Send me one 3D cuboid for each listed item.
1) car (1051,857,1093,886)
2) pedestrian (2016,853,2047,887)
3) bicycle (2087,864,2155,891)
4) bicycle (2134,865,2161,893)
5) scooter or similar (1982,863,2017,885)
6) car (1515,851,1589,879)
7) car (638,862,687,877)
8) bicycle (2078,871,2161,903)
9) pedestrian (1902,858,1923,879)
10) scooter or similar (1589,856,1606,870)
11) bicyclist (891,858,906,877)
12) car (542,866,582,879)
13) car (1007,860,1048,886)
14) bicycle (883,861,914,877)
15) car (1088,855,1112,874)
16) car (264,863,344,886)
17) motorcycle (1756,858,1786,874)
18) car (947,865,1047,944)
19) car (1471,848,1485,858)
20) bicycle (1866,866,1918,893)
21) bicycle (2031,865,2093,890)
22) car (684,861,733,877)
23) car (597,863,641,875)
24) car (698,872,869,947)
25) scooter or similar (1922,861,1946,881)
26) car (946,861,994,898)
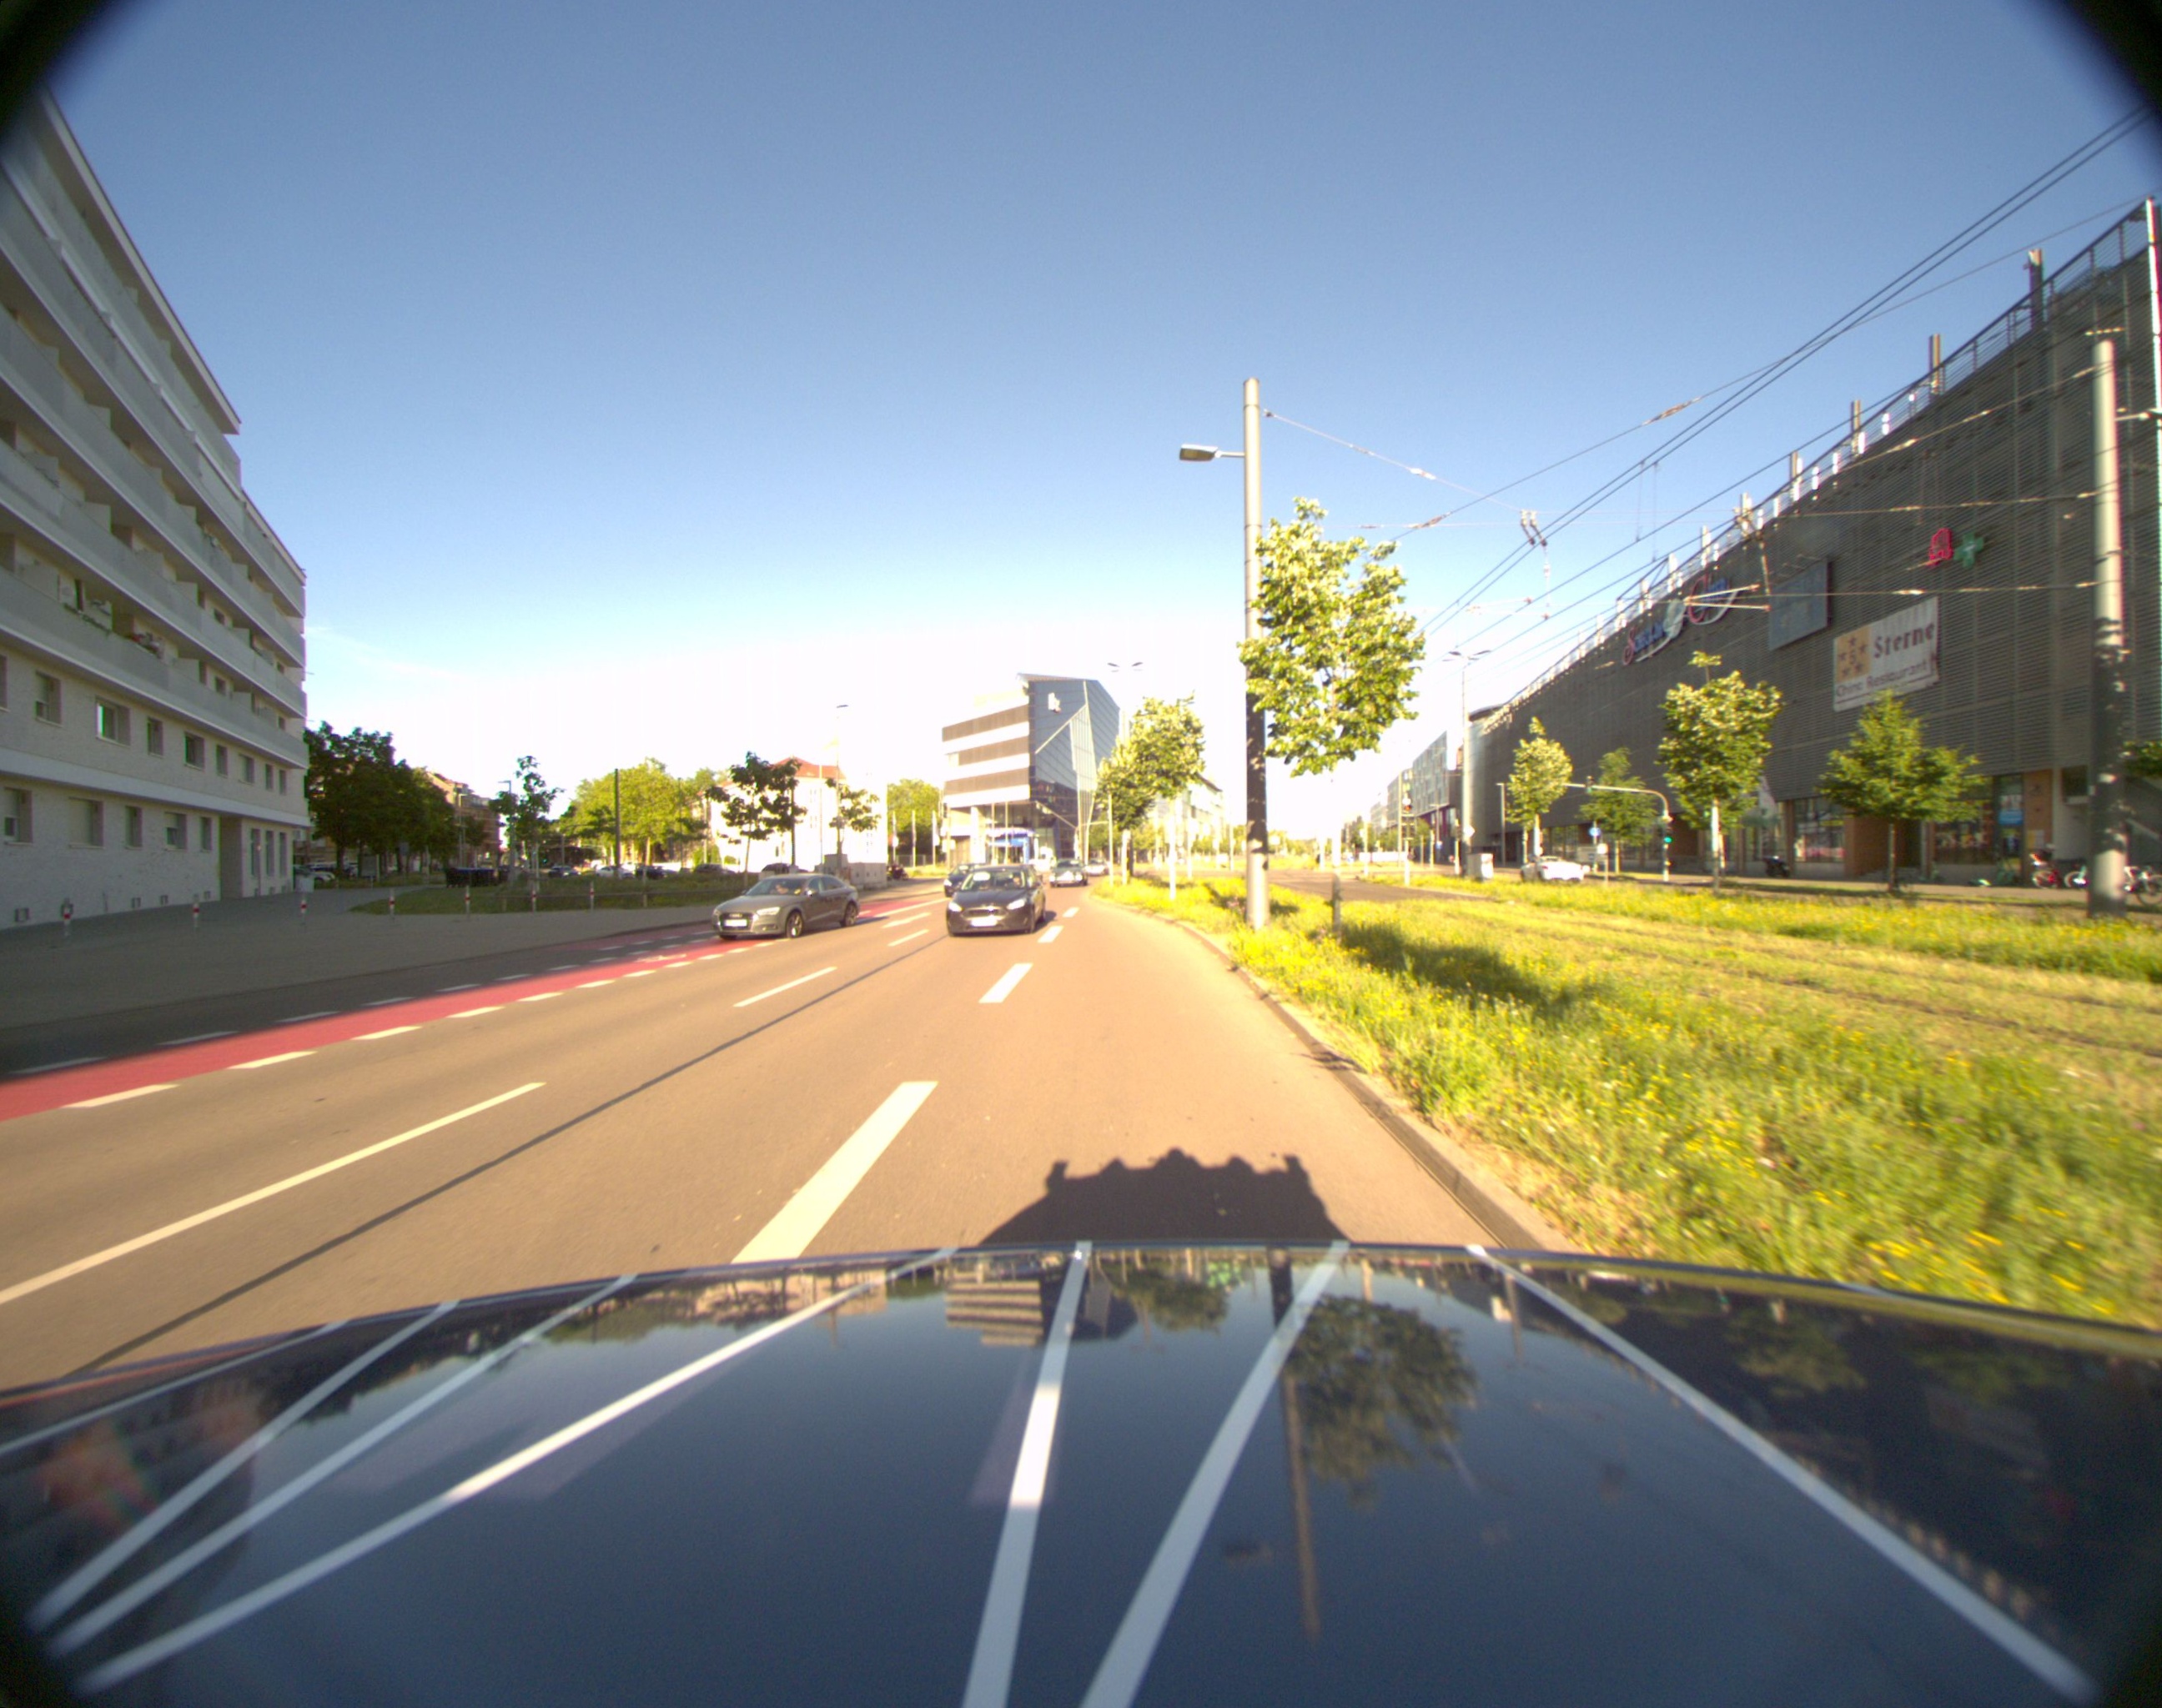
[{"bbox_3d":[-0.443,0.932,41.804,1.748,1.496,3.883,-1,0,8],"label":"car"},{"bbox_3d":[36.651,0.625,29.303,0.448,1.282,0.630,-1,1,12],"label":"pedestrian"},{"bbox_3d":[36.176,0.811,26.451,1.398,0.921,0.462,-1,1,16],"label":"bicycle"},{"bbox_3d":[35.907,0.829,25.043,1.398,0.921,0.462,-1,1,16],"label":"bicycle"},{"bbox_3d":[37.185,0.813,30.771,0.291,0.888,0.899,-1,1,-37],"label":"scooter or similar"},{"bbox_3d":[23.903,0.514,38.735,1.809,1.320,4.409,0,0,12],"label":"car"},{"bbox_3d":[-41.591,1.573,75.590,4.514,1.414,2.003,-1,0,26],"label":"car"},{"bbox_3d":[31.017,0.973,22.734,0.386,0.863,1.773,-1,0,12],"label":"bicycle"},{"bbox_3d":[40.884,0.708,37.364,0.565,1.032,0.425,-1,1,22],"label":"pedestrian"},{"bbox_3d":[39.690,0.652,58.437,0.436,1.036,1.363,-2,1,4],"label":"scooter or similar"},{"bbox_3d":[-15.598,1.138,64.940,1.006,1.597,0.880,-1,1,13],"label":"bicyclist"},{"bbox_3d":[-56.949,2.050,83.378,3.990,1.368,1.938,-1,0,26],"label":"car"},{"bbox_3d":[-3.230,1.143,46.821,1.437,1.437,4.004,0,0,13],"label":"car"},{"bbox_3d":[-15.583,1.296,64.924,2.368,1.304,0.952,-1,1,13],"label":"bicycle"},{"bbox_3d":[1.625,0.828,63.027,1.619,1.421,3.769,-2,0,7],"label":"car"},{"bbox_3d":[-62.531,1.639,61.239,1.996,1.707,4.004,-1,0,12],"label":"car"},{"bbox_3d":[40.333,0.682,44.404,0.427,0.914,2.027,-1,0,15],"label":"motorcycle"},{"bbox_3d":[-1.753,1.031,17.069,1.690,1.425,4.153,-2,0,0],"label":"car"},{"bbox_3d":[58.115,-0.111,111.198,1.688,1.364,3.597,-1,0,25],"label":"car"},{"bbox_3d":[29.860,0.936,27.998,0.386,0.918,1.773,-1,0,12],"label":"bicycle"},{"bbox_3d":[36.002,0.856,27.904,1.398,0.921,0.462,-1,1,16],"label":"bicycle"},{"bbox_3d":[-35.855,1.459,73.159,3.991,1.414,2.003,-1,0,19],"label":"car"},{"bbox_3d":[-48.055,1.537,79.048,3.990,1.237,2.003,-1,0,25],"label":"car"},{"bbox_3d":[-6.794,1.215,17.880,1.713,1.433,4.115,-1,0,12],"label":"car"},{"bbox_3d":[38.551,0.775,34.333,0.290,0.888,0.902,0,1,17],"label":"scooter or similar"},{"bbox_3d":[-4.870,1.089,33.855,1.736,1.437,3.998,-1,0,-3],"label":"car"}]
